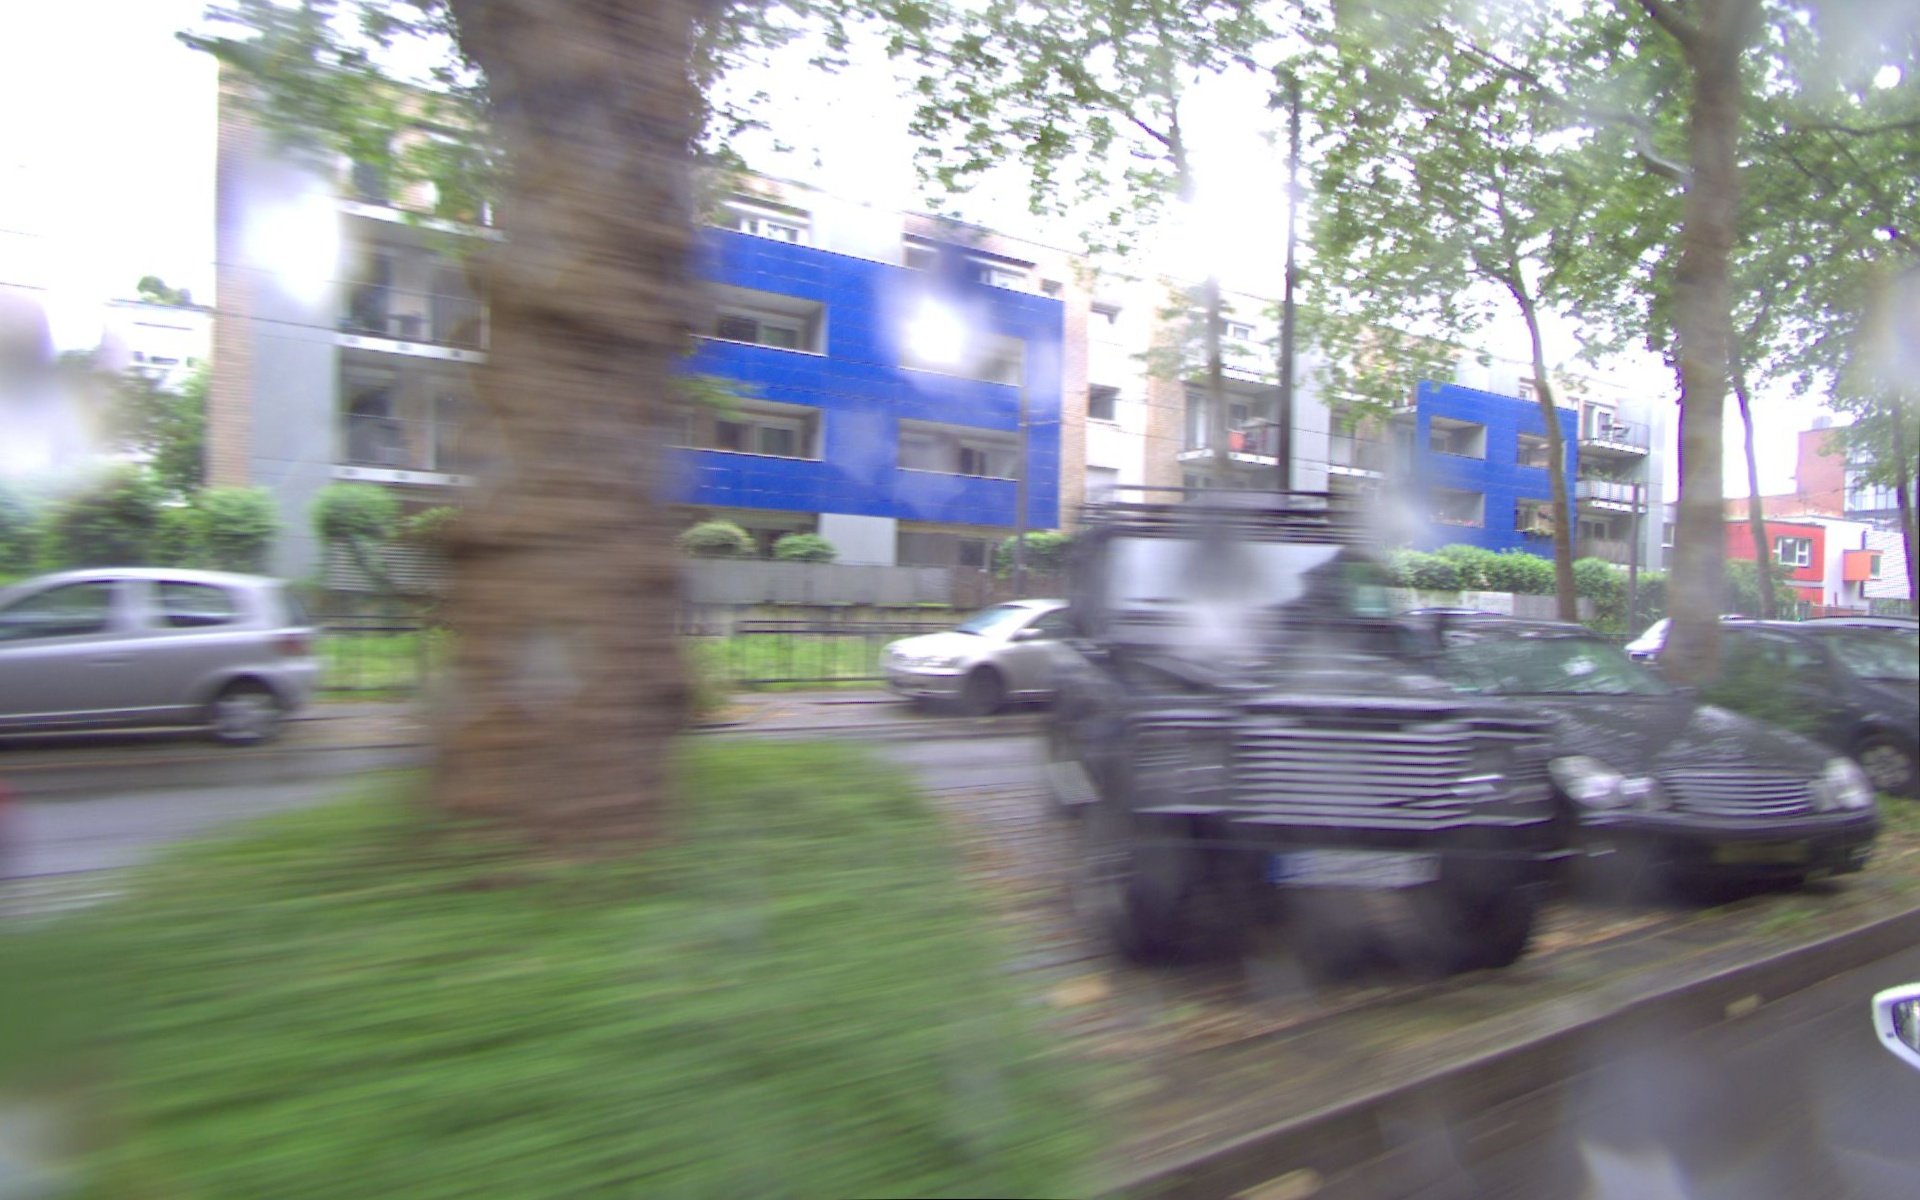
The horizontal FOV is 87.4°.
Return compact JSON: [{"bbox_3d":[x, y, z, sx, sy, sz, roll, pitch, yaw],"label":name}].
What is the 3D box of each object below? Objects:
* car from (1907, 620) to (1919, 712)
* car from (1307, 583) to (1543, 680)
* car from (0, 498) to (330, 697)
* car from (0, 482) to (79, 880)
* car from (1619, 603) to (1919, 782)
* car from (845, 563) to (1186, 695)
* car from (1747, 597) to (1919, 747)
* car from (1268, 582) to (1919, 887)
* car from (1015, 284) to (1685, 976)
[{"bbox_3d":[16.486,1.136,14.733,1.709,1.499,3.654,2,1,1],"label":"car"},{"bbox_3d":[8.519,0.558,18.350,4.168,1.554,1.894,2,1,-32],"label":"car"},{"bbox_3d":[-7.956,-0.040,8.681,4.168,1.554,1.894,2,1,-32],"label":"car"},{"bbox_3d":[-4.330,0.265,2.200,1.747,1.455,3.502,2,0,-2],"label":"car"},{"bbox_3d":[8.570,0.794,9.839,1.612,1.487,3.506,2,0,-8],"label":"car"},{"bbox_3d":[0.814,0.371,13.833,4.371,1.554,1.894,2,1,-32],"label":"car"},{"bbox_3d":[11.117,0.805,10.999,1.799,1.558,4.065,2,1,1],"label":"car"},{"bbox_3d":[3.814,0.632,6.873,1.811,1.343,4.659,2,0,-2],"label":"car"},{"bbox_3d":[1.468,0.121,5.770,1.972,2.313,4.660,2,0,0],"label":"car"}]
